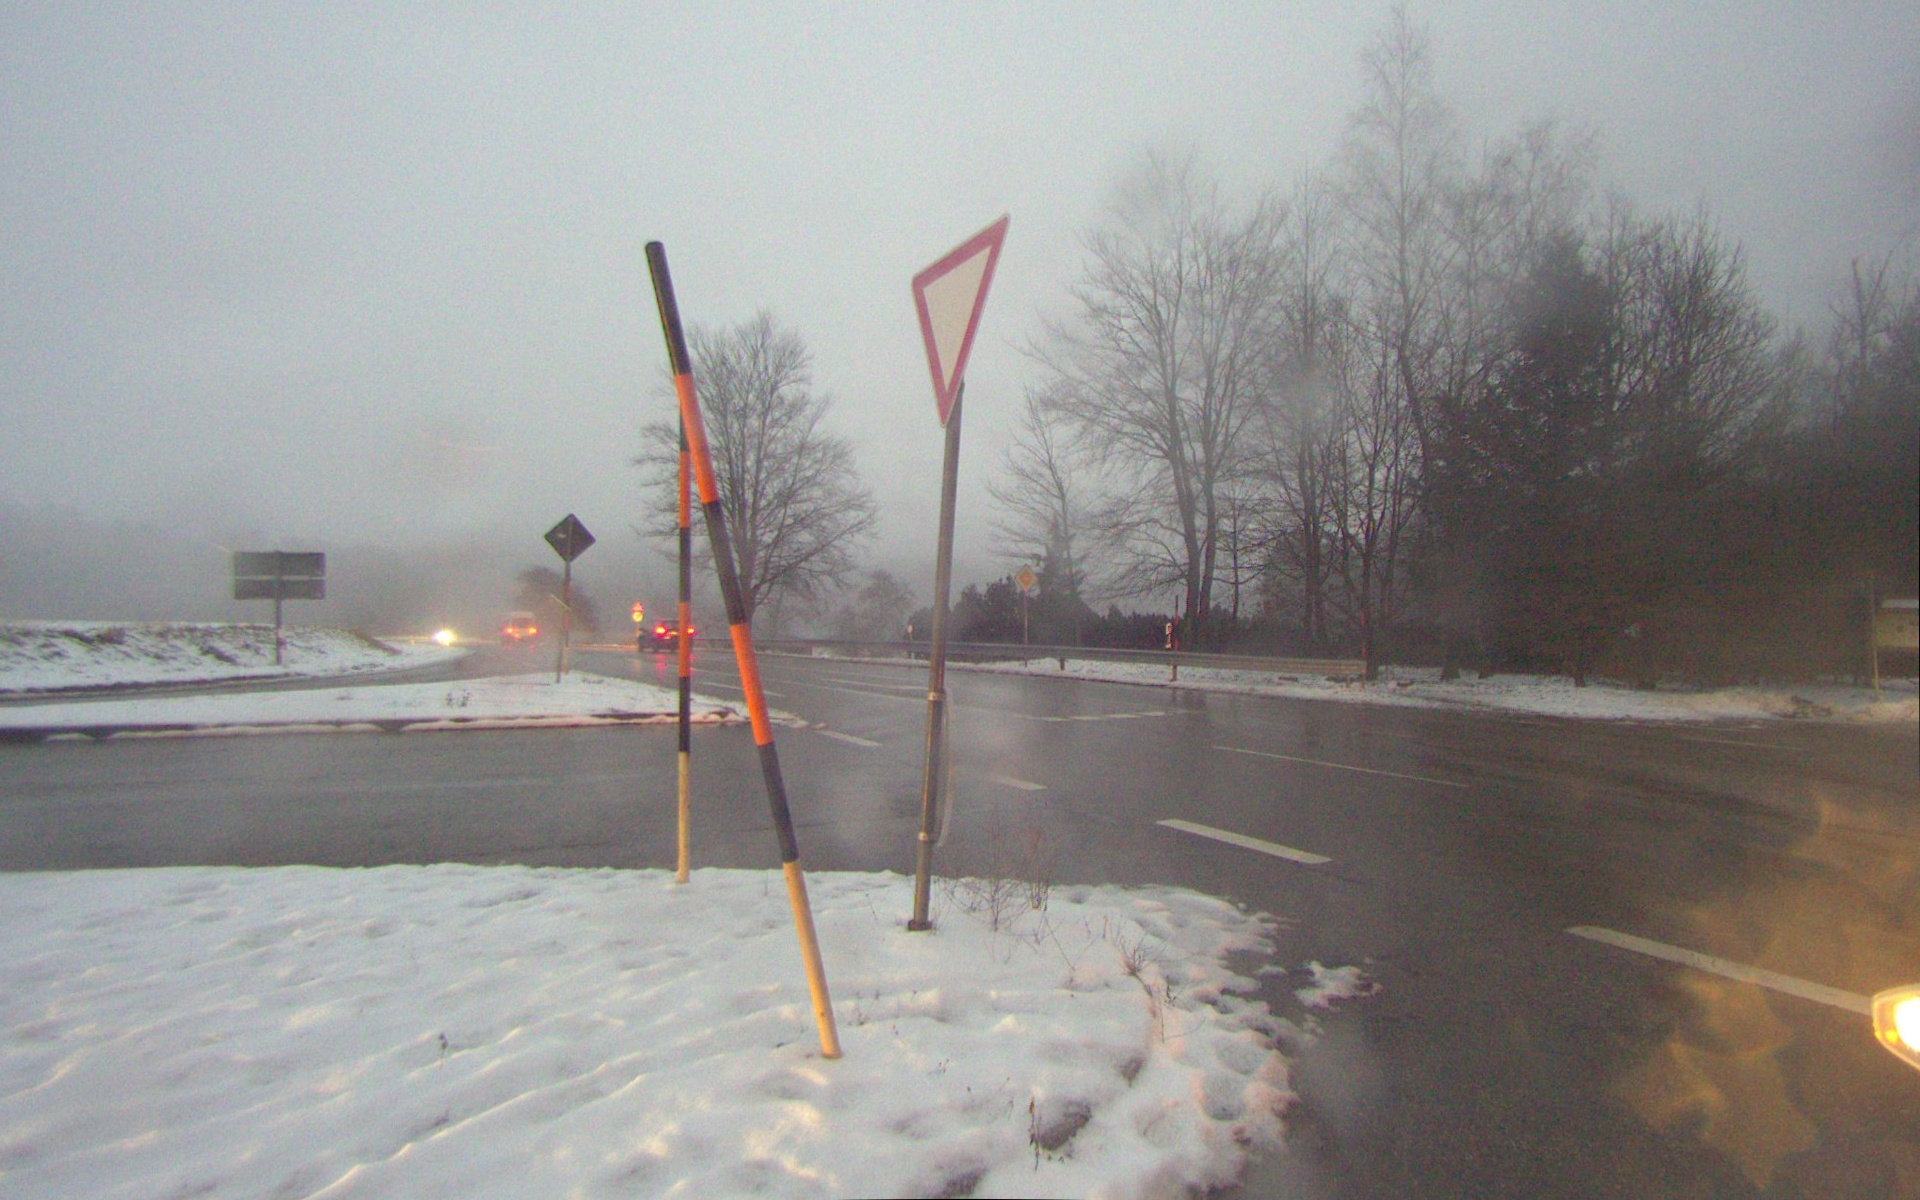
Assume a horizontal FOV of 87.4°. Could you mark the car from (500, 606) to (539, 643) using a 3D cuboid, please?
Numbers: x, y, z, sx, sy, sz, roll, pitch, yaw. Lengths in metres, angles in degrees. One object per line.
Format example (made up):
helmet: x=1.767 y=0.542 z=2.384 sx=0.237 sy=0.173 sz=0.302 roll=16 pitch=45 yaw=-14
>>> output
car: x=-35.785 y=1.952 z=81.486 sx=2.129 sy=2.731 sz=5.483 roll=3 pitch=0 yaw=-31

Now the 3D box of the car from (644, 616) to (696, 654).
car: x=-13.115 y=1.552 z=45.338 sx=1.675 sy=1.572 sz=3.832 roll=2 pitch=-2 yaw=-25
